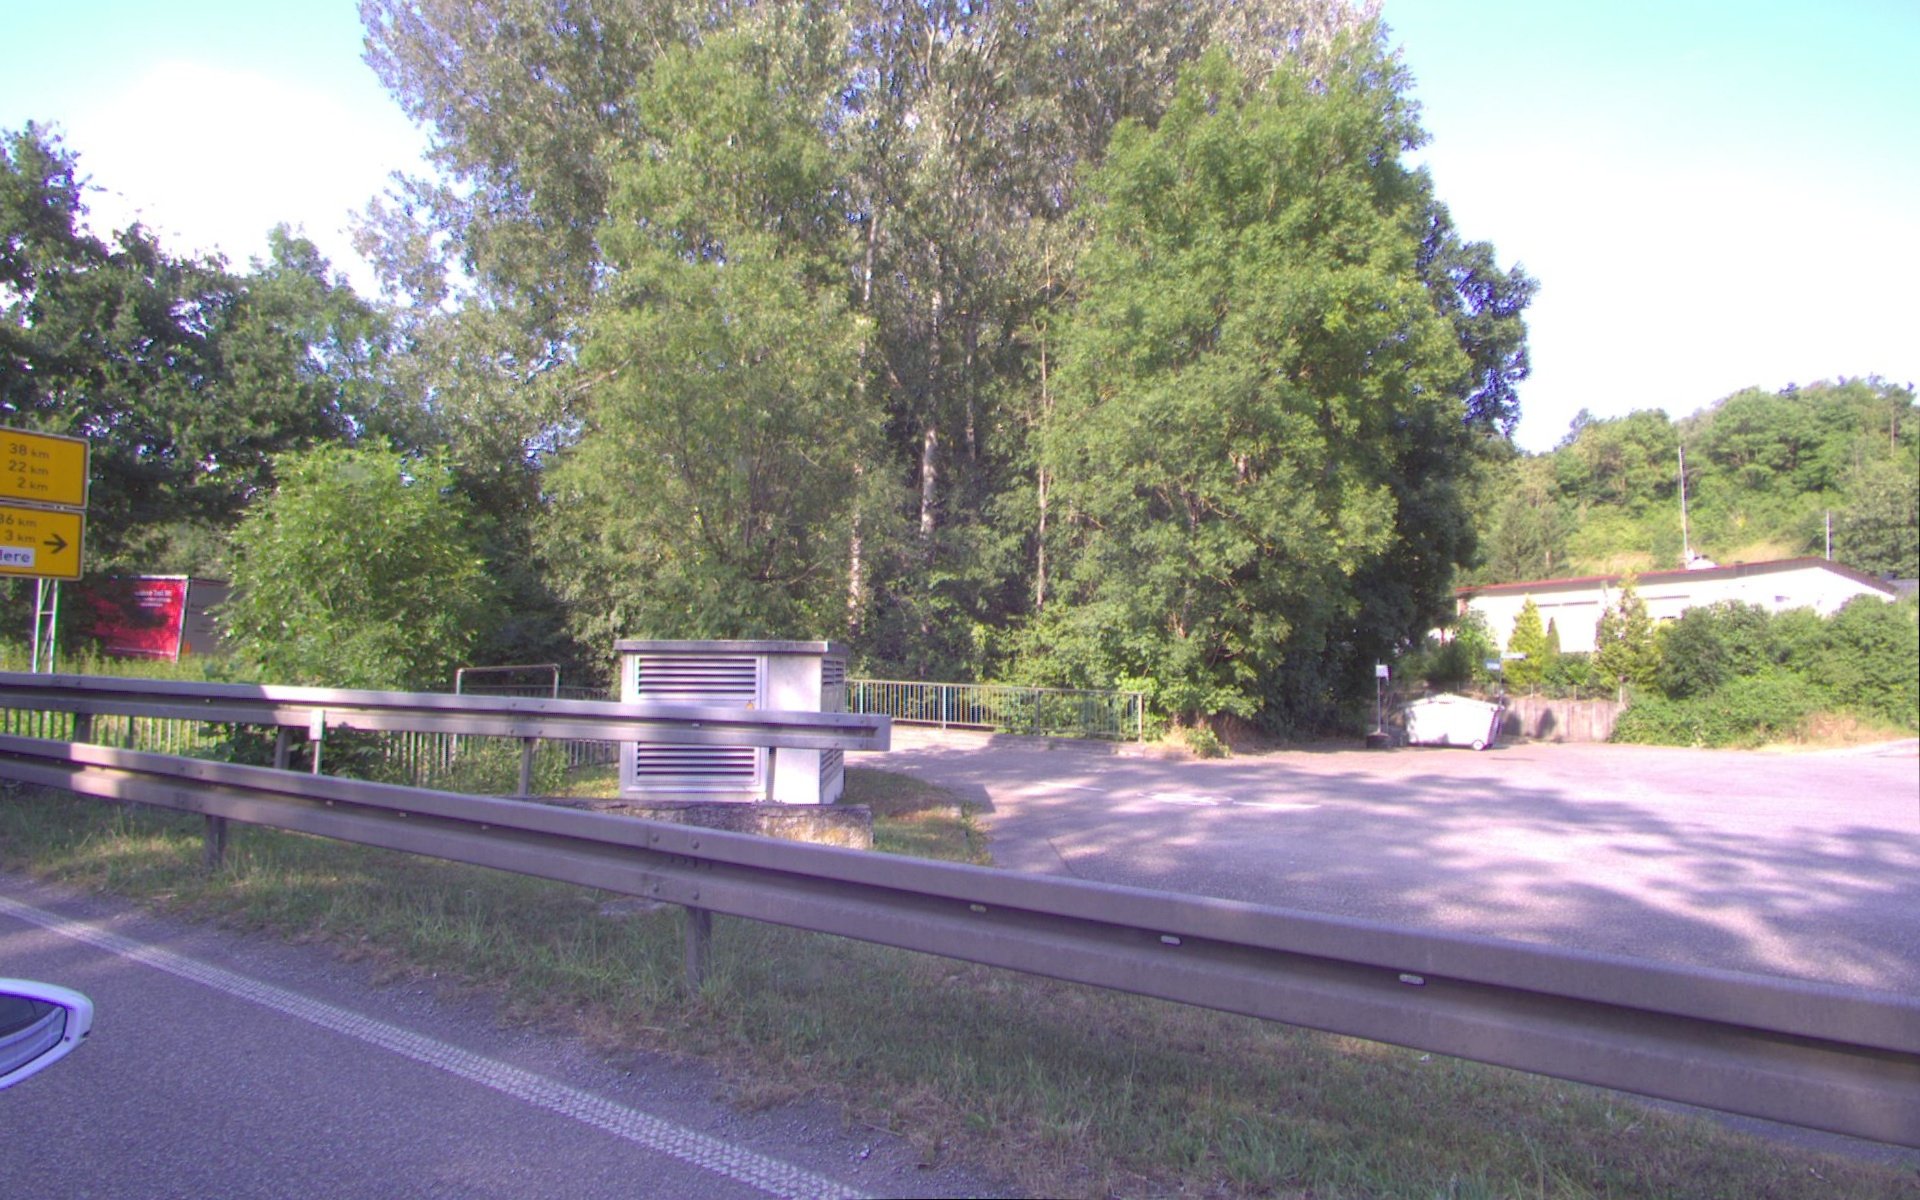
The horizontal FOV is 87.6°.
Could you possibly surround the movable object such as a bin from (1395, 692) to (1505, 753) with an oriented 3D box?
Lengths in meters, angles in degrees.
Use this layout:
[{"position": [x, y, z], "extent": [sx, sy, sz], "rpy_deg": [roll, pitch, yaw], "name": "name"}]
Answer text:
[{"position": [13.066, 3.243, 26.709], "extent": [2.521, 1.436, 1.265], "rpy_deg": [-1, -5, 32], "name": "movable object such as a bin"}]
